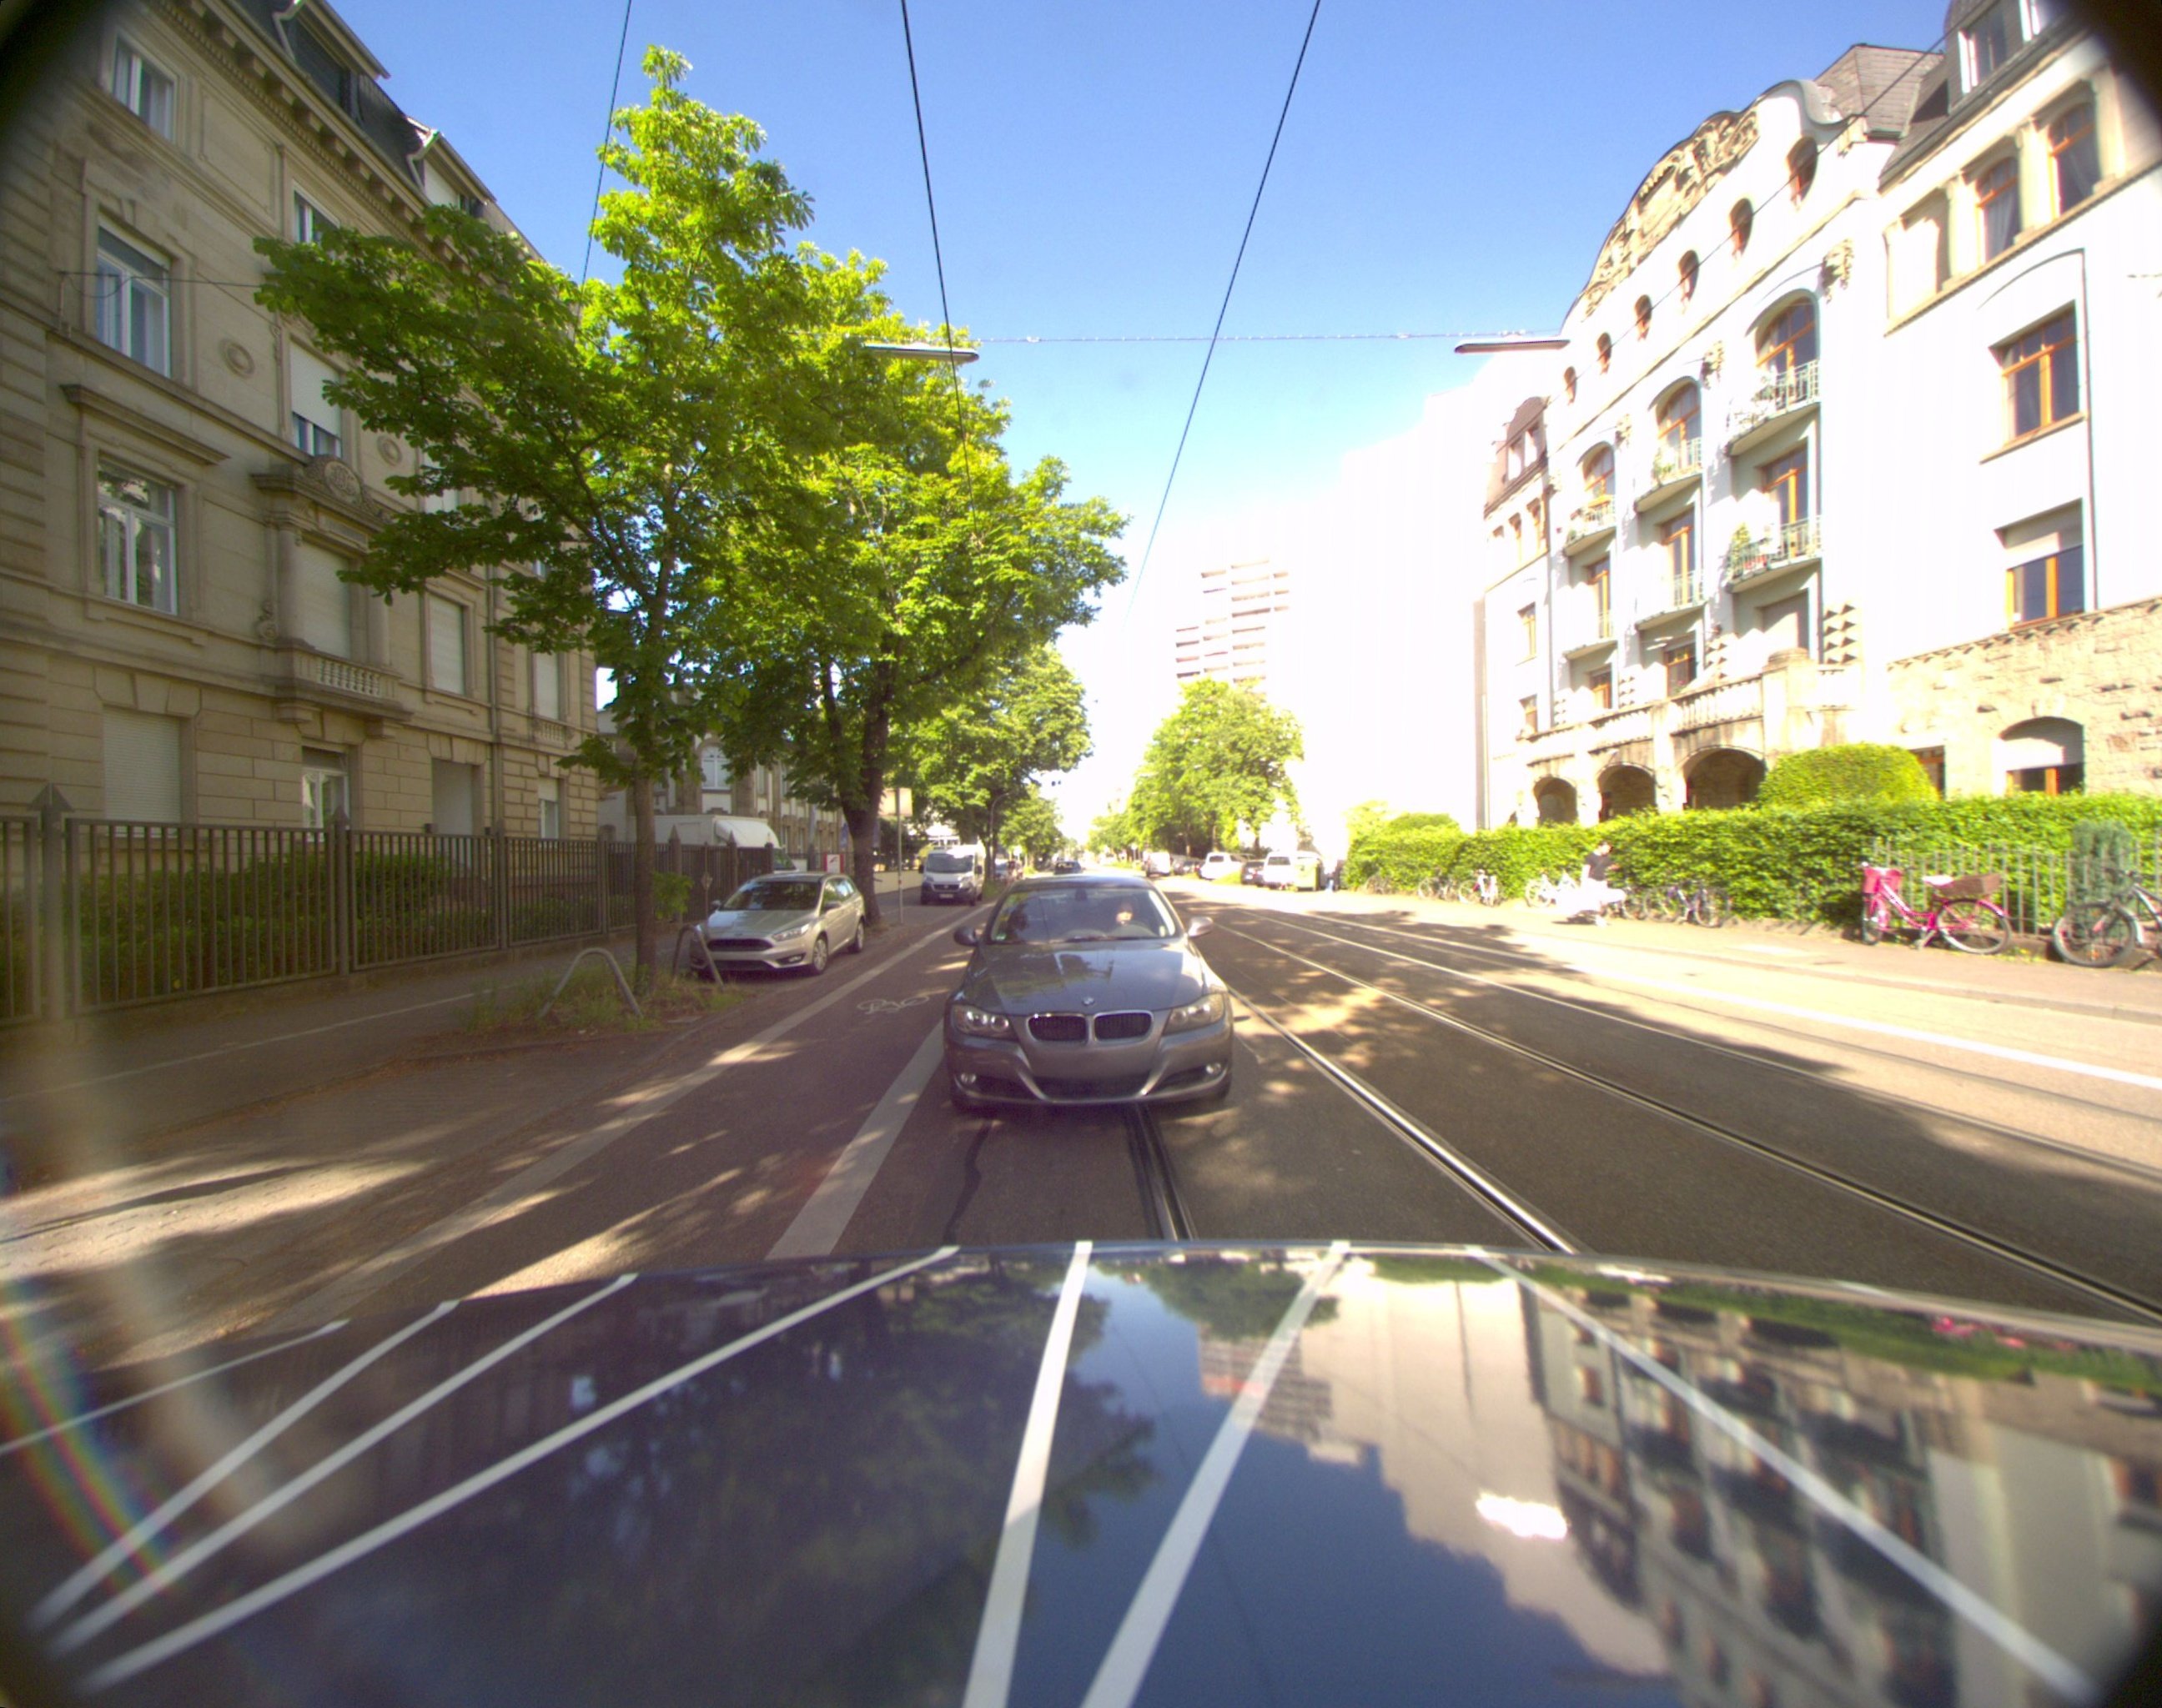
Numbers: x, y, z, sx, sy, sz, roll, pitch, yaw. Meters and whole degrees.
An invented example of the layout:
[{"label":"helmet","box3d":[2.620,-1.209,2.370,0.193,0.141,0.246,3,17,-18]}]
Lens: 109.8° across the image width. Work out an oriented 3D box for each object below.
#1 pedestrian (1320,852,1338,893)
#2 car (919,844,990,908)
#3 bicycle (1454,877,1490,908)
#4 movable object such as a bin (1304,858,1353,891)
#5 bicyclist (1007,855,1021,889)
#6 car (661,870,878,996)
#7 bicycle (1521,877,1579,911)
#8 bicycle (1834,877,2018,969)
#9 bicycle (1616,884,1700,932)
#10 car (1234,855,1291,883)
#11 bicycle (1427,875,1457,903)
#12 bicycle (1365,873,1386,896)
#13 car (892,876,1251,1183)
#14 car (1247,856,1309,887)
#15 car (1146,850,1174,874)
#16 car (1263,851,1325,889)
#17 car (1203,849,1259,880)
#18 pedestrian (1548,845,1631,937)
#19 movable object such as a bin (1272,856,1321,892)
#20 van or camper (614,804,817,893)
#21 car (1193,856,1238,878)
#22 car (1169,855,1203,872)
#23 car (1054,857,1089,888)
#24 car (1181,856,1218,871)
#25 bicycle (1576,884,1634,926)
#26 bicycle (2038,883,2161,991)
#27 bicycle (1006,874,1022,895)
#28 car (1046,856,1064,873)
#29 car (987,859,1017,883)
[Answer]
[{"label":"pedestrian","box3d":[9.927,0.738,30.438,0.475,1.619,0.659,-2,1,1]},{"label":"car","box3d":[-4.977,0.774,30.781,2.132,2.329,5.803,0,1,-3]},{"label":"bicycle","box3d":[10.743,1.056,20.912,0.318,0.757,1.263,-2,1,1]},{"label":"movable object such as a bin","box3d":[11.117,0.901,34.211,1.501,1.309,2.096,-2,1,1]},{"label":"bicyclist","box3d":[-3.395,0.882,38.320,0.532,1.660,0.878,-2,1,1]},{"label":"car","box3d":[-4.707,1.093,12.270,1.877,1.534,4.364,0,1,-3]},{"label":"bicycle","box3d":[11.792,1.001,19.104,1.262,0.789,0.297,-2,1,1]},{"label":"bicycle","box3d":[11.012,0.854,9.999,0.405,1.018,1.816,-2,1,1]},{"label":"bicycle","box3d":[10.917,1.000,14.427,0.405,0.757,1.581,-2,1,1]},{"label":"car","box3d":[10.265,0.854,43.025,2.757,1.427,1.458,-2,1,-16]},{"label":"bicycle","box3d":[10.765,1.035,22.703,0.297,0.757,1.263,-2,1,1]},{"label":"bicycle","box3d":[10.633,1.098,27.456,0.297,0.757,1.263,-2,1,1]},{"label":"car","box3d":[-0.024,1.001,6.066,1.869,1.426,3.999,-2,1,1]},{"label":"car","box3d":[10.268,0.892,39.658,2.757,1.427,1.458,-2,1,-16]},{"label":"car","box3d":[6.872,0.630,65.620,1.997,1.893,4.003,-2,1,11]},{"label":"car","box3d":[10.298,0.792,36.647,3.194,1.763,1.456,1,-2,-45]},{"label":"car","box3d":[9.901,0.681,50.116,3.450,1.860,1.918,-3,1,-44]},{"label":"pedestrian","box3d":[9.723,0.684,14.559,0.869,1.619,0.870,-6,1,1]},{"label":"movable object such as a bin","box3d":[9.403,0.846,33.242,1.512,1.424,2.096,-2,1,1]},{"label":"van or camper","box3d":[-12.164,-0.135,25.188,6.721,2.612,2.126,-2,1,24]},{"label":"car","box3d":[9.474,0.908,53.544,2.757,1.427,1.458,-2,1,-16]},{"label":"car","box3d":[9.670,0.851,69.898,2.757,1.417,1.226,-2,1,-16]},{"label":"car","box3d":[-0.512,1.004,42.947,1.828,1.559,3.999,-2,1,1]},{"label":"car","box3d":[9.767,0.802,62.697,2.757,1.083,1.226,-2,1,-16]},{"label":"bicycle","box3d":[10.961,1.056,15.932,0.339,0.757,1.263,-2,1,1]},{"label":"bicycle","box3d":[11.077,0.862,7.732,0.405,1.018,1.816,-2,1,1]},{"label":"bicycle","box3d":[-3.367,1.542,38.400,0.535,0.917,2.057,-2,1,1]},{"label":"car","box3d":[-2.885,1.147,83.667,1.866,1.646,4.101,-2,1,-3]},{"label":"car","box3d":[-5.534,1.188,53.761,1.866,1.541,4.101,-2,1,-3]}]
